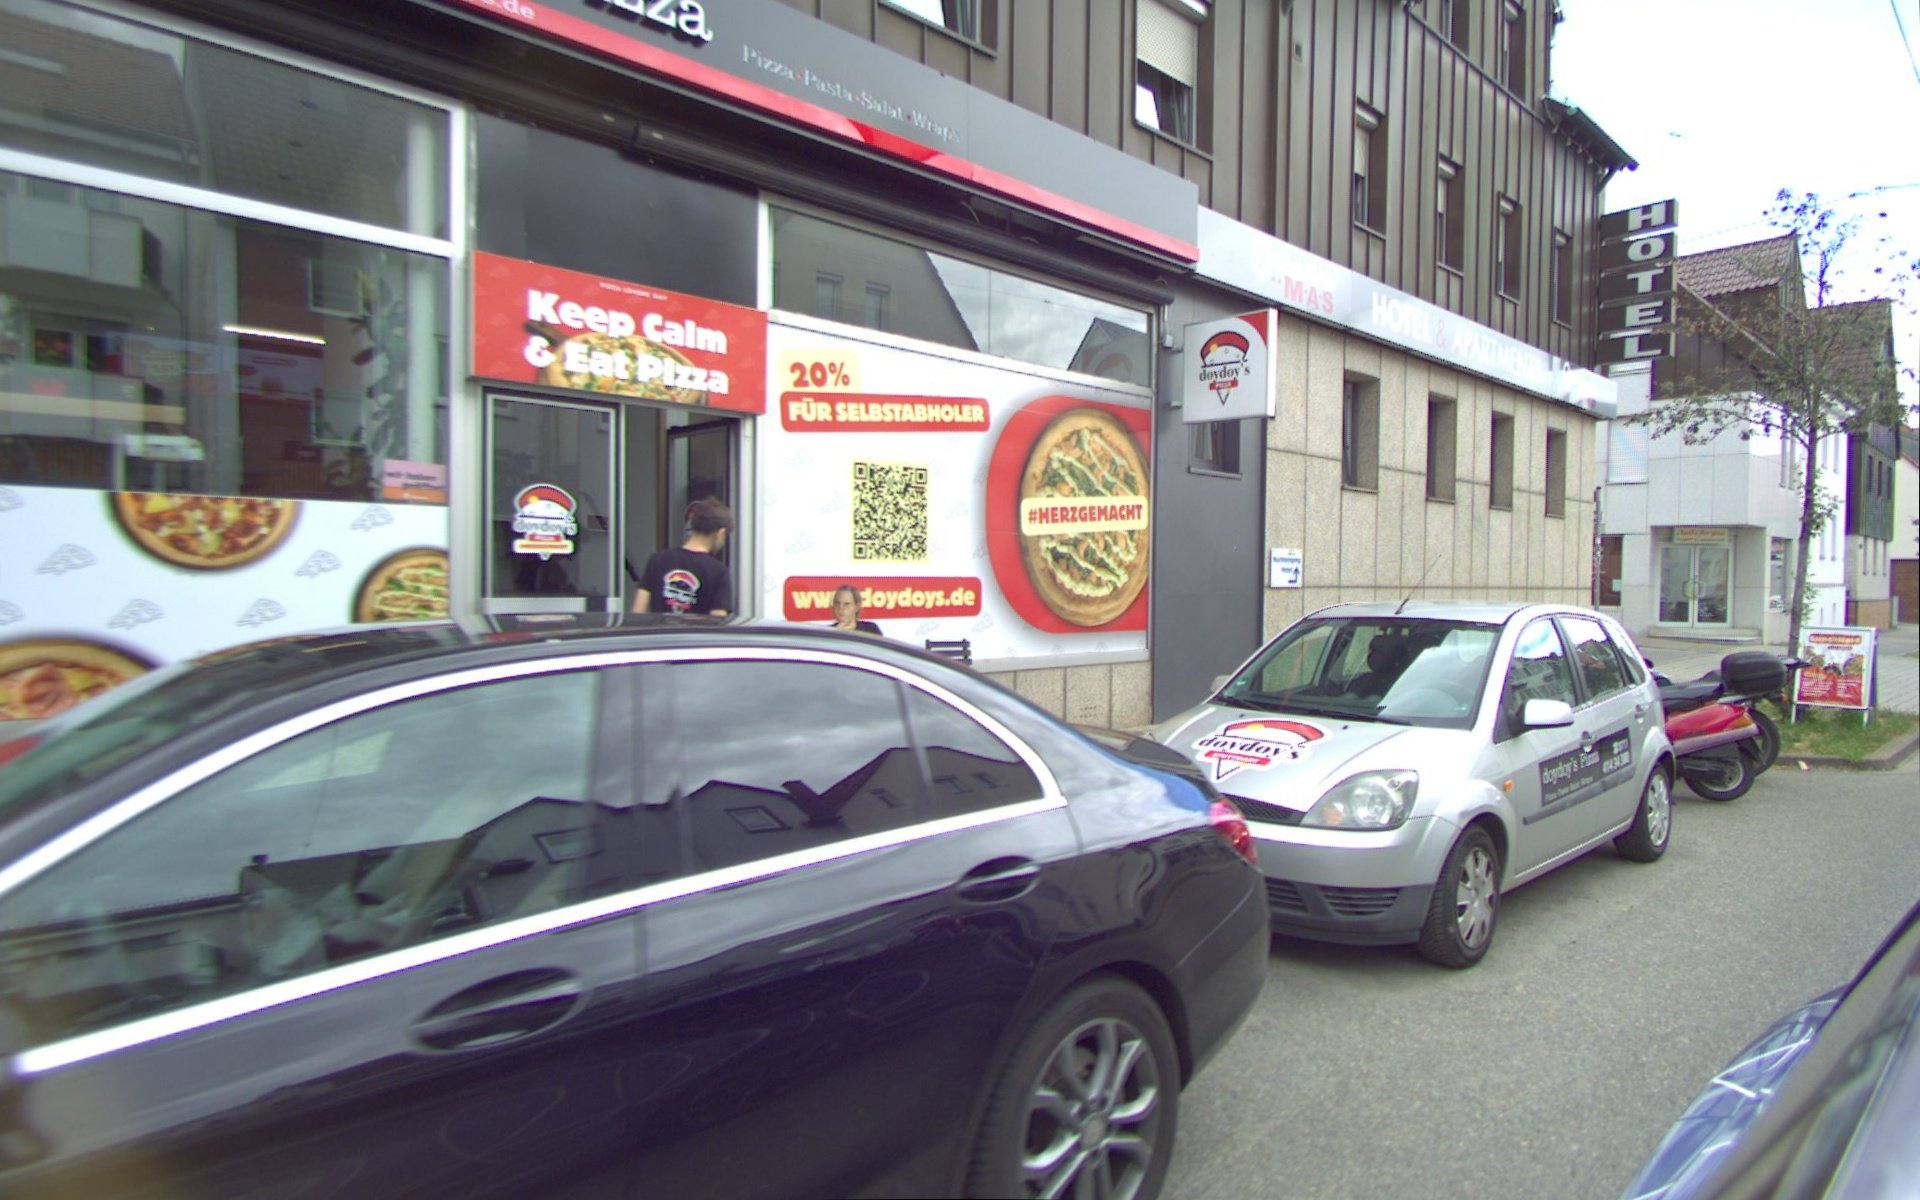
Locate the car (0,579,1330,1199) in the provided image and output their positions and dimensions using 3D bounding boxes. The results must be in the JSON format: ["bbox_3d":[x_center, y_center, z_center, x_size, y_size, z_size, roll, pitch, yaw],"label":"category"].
[{"bbox_3d":[-1.335,0.680,1.814,4.486,1.426,1.828,-1,1,-41],"label":"car"}]

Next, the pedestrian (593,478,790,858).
[{"bbox_3d":[-1.372,0.297,5.167,0.642,1.761,0.730,3,3,45],"label":"pedestrian"}]

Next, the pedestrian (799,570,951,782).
[{"bbox_3d":[-0.547,0.438,6.444,0.632,1.226,0.742,0,3,-40],"label":"pedestrian"}]

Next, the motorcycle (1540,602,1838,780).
[{"bbox_3d":[5.745,0.687,8.072,1.842,1.308,0.530,1,1,13],"label":"motorcycle"}]

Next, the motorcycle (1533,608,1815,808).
[{"bbox_3d":[5.089,0.726,7.314,1.567,1.308,0.498,1,1,21],"label":"motorcycle"}]

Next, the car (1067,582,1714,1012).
[{"bbox_3d":[2.475,0.647,5.349,3.834,1.459,1.643,-1,1,-41],"label":"car"}]
